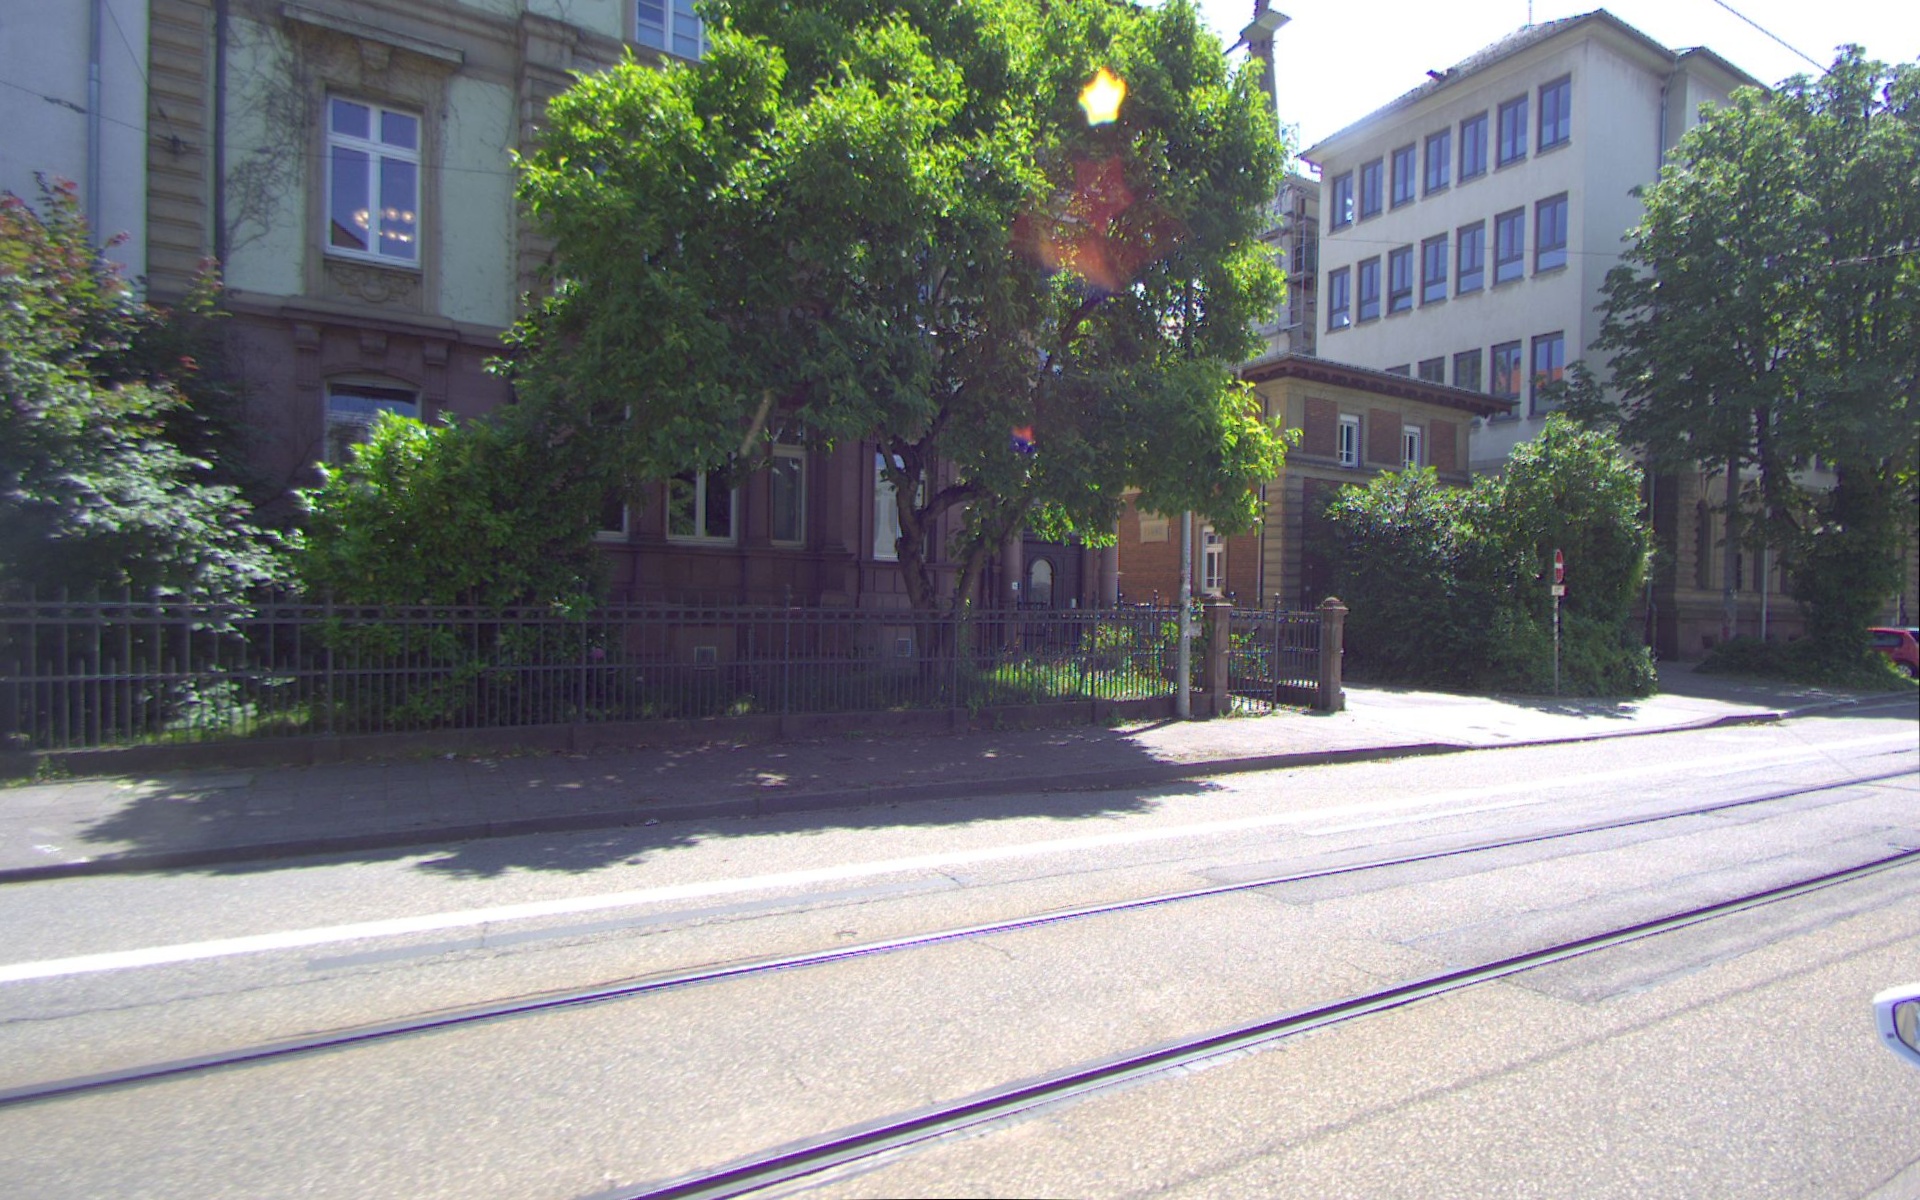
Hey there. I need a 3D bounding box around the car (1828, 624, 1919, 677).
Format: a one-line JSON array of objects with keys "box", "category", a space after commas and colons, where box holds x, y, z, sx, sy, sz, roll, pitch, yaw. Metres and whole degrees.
[{"box": [30.130, 1.588, 31.793, 3.751, 1.598, 1.790, 0, 0, 31], "category": "car"}]

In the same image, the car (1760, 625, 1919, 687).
[{"box": [25.227, 1.566, 28.881, 3.296, 1.536, 1.664, 1, 0, 35], "category": "car"}]

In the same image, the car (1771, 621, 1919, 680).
[{"box": [27.710, 1.538, 30.743, 4.246, 1.606, 1.666, 2, 0, 31], "category": "car"}]
